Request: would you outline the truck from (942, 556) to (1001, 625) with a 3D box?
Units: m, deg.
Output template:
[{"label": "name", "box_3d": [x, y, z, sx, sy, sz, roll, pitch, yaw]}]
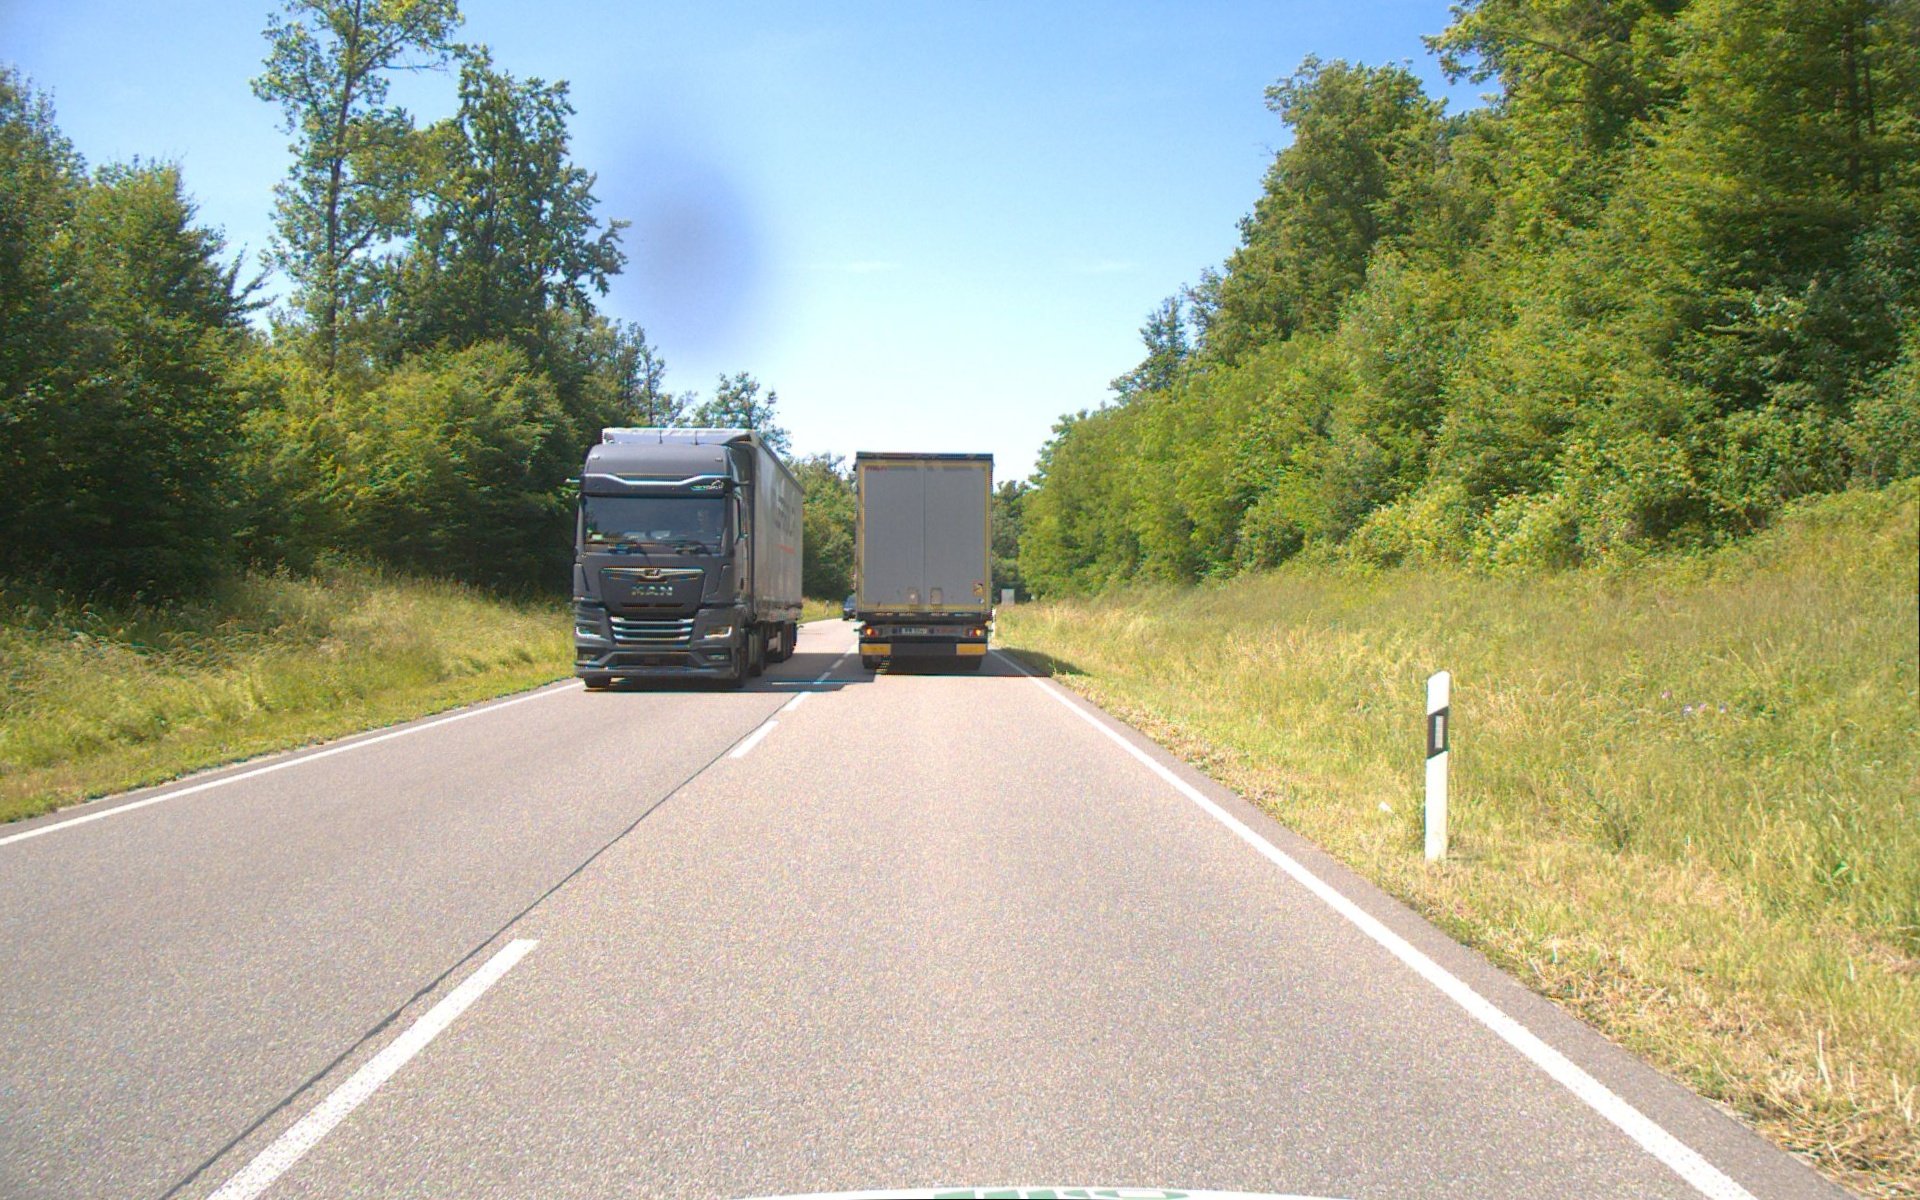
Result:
[{"label": "truck", "box_3d": [0.660, -0.645, 116.101, 3.716, 4.449, 14.916, 1, 0, -1]}]

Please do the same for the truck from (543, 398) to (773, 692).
[{"label": "truck", "box_3d": [-4.719, -0.820, 26.887, 2.863, 4.289, 5.341, 0, 0, -1]}]

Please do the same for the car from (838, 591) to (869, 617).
[{"label": "car", "box_3d": [-6.378, 0.246, 99.301, 1.627, 1.521, 3.804, 0, 0, -1]}]

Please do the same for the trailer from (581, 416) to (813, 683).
[{"label": "trailer", "box_3d": [-4.883, -0.868, 33.721, 2.882, 4.327, 13.616, 0, 0, -1]}]

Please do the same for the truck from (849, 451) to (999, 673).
[{"label": "truck", "box_3d": [-0.861, -0.694, 36.132, 2.705, 4.016, 12.192, 0, 0, -2]}]
